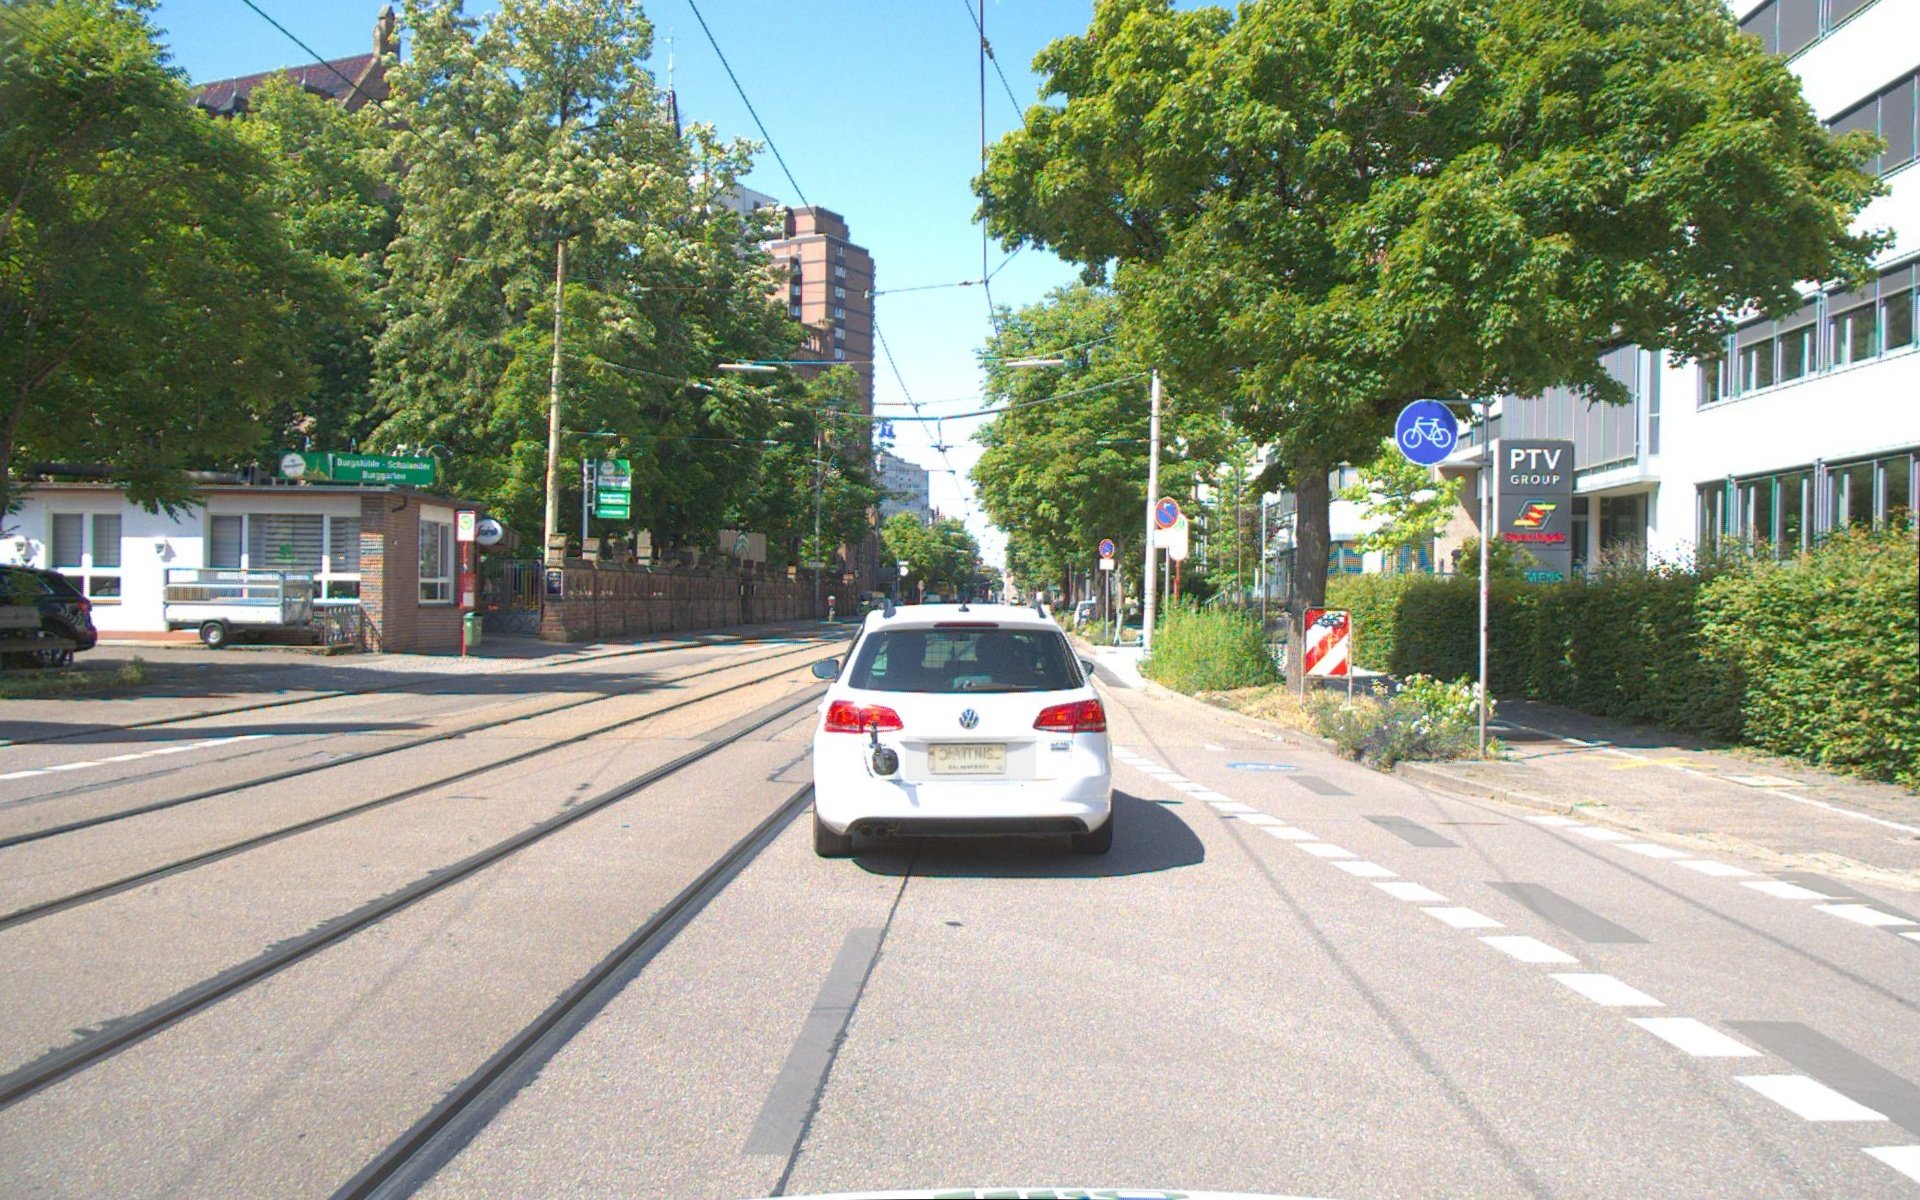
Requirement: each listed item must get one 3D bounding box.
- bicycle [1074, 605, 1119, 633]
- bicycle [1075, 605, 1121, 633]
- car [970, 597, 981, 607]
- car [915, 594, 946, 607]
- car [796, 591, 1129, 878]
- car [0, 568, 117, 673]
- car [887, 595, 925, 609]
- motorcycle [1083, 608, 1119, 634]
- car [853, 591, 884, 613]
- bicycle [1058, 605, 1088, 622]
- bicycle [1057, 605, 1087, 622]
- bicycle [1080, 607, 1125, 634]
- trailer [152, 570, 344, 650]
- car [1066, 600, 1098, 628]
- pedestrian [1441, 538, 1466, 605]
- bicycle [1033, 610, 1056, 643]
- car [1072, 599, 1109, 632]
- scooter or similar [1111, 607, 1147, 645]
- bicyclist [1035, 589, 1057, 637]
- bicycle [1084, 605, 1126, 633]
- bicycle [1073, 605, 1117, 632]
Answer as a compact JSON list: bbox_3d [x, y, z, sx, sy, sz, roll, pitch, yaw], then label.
[{"bbox_3d":[5.936,0.810,71.938,1.873,1.101,0.550,3,0,-1],"label":"bicycle"},{"bbox_3d":[5.955,0.818,71.337,1.872,1.101,0.550,2,0,-1],"label":"bicycle"},{"bbox_3d":[2.112,0.264,224.851,1.462,1.409,3.644,0,0,3],"label":"car"},{"bbox_3d":[-4.074,0.109,229.803,3.951,1.847,1.977,0,0,-34],"label":"car"},{"bbox_3d":[0.030,0.684,10.759,1.718,1.467,4.413,0,0,0],"label":"car"},{"bbox_3d":[-16.054,0.302,26.104,4.543,1.653,1.918,1,0,-44],"label":"car"},{"bbox_3d":[-6.402,0.246,196.358,4.055,1.557,1.922,2,0,-19],"label":"car"},{"bbox_3d":[5.827,0.864,68.495,1.435,1.064,0.534,0,0,-1],"label":"motorcycle"},{"bbox_3d":[-7.438,0.144,135.204,1.951,1.788,4.714,0,0,4],"label":"car"},{"bbox_3d":[6.675,0.809,97.869,1.751,1.028,0.488,0,0,-3],"label":"bicycle"},{"bbox_3d":[6.657,0.803,98.389,1.751,1.028,0.488,0,0,-3],"label":"bicycle"},{"bbox_3d":[5.721,0.820,66.345,1.738,1.102,0.596,0,0,-1],"label":"bicycle"},{"bbox_3d":[-14.686,0.191,34.206,3.148,1.552,1.778,1,0,3],"label":"trailer"},{"bbox_3d":[6.553,0.726,89.119,1.629,1.469,4.635,0,0,3],"label":"car"},{"bbox_3d":[13.115,-0.746,43.918,0.488,1.758,0.547,1,0,1],"label":"pedestrian"},{"bbox_3d":[2.973,0.927,58.212,0.794,1.097,2.013,1,0,3],"label":"bicycle"},{"bbox_3d":[6.064,0.714,77.143,1.557,1.476,3.947,0,0,3],"label":"car"},{"bbox_3d":[5.443,0.832,53.399,1.118,1.174,0.493,1,0,8],"label":"scooter or similar"},{"bbox_3d":[3.026,0.450,58.320,0.769,1.658,0.738,0,0,2],"label":"bicyclist"},{"bbox_3d":[6.134,0.799,70.082,1.738,1.139,0.596,0,0,-1],"label":"bicycle"},{"bbox_3d":[5.975,0.831,73.192,1.847,1.101,0.550,3,0,-1],"label":"bicycle"}]
